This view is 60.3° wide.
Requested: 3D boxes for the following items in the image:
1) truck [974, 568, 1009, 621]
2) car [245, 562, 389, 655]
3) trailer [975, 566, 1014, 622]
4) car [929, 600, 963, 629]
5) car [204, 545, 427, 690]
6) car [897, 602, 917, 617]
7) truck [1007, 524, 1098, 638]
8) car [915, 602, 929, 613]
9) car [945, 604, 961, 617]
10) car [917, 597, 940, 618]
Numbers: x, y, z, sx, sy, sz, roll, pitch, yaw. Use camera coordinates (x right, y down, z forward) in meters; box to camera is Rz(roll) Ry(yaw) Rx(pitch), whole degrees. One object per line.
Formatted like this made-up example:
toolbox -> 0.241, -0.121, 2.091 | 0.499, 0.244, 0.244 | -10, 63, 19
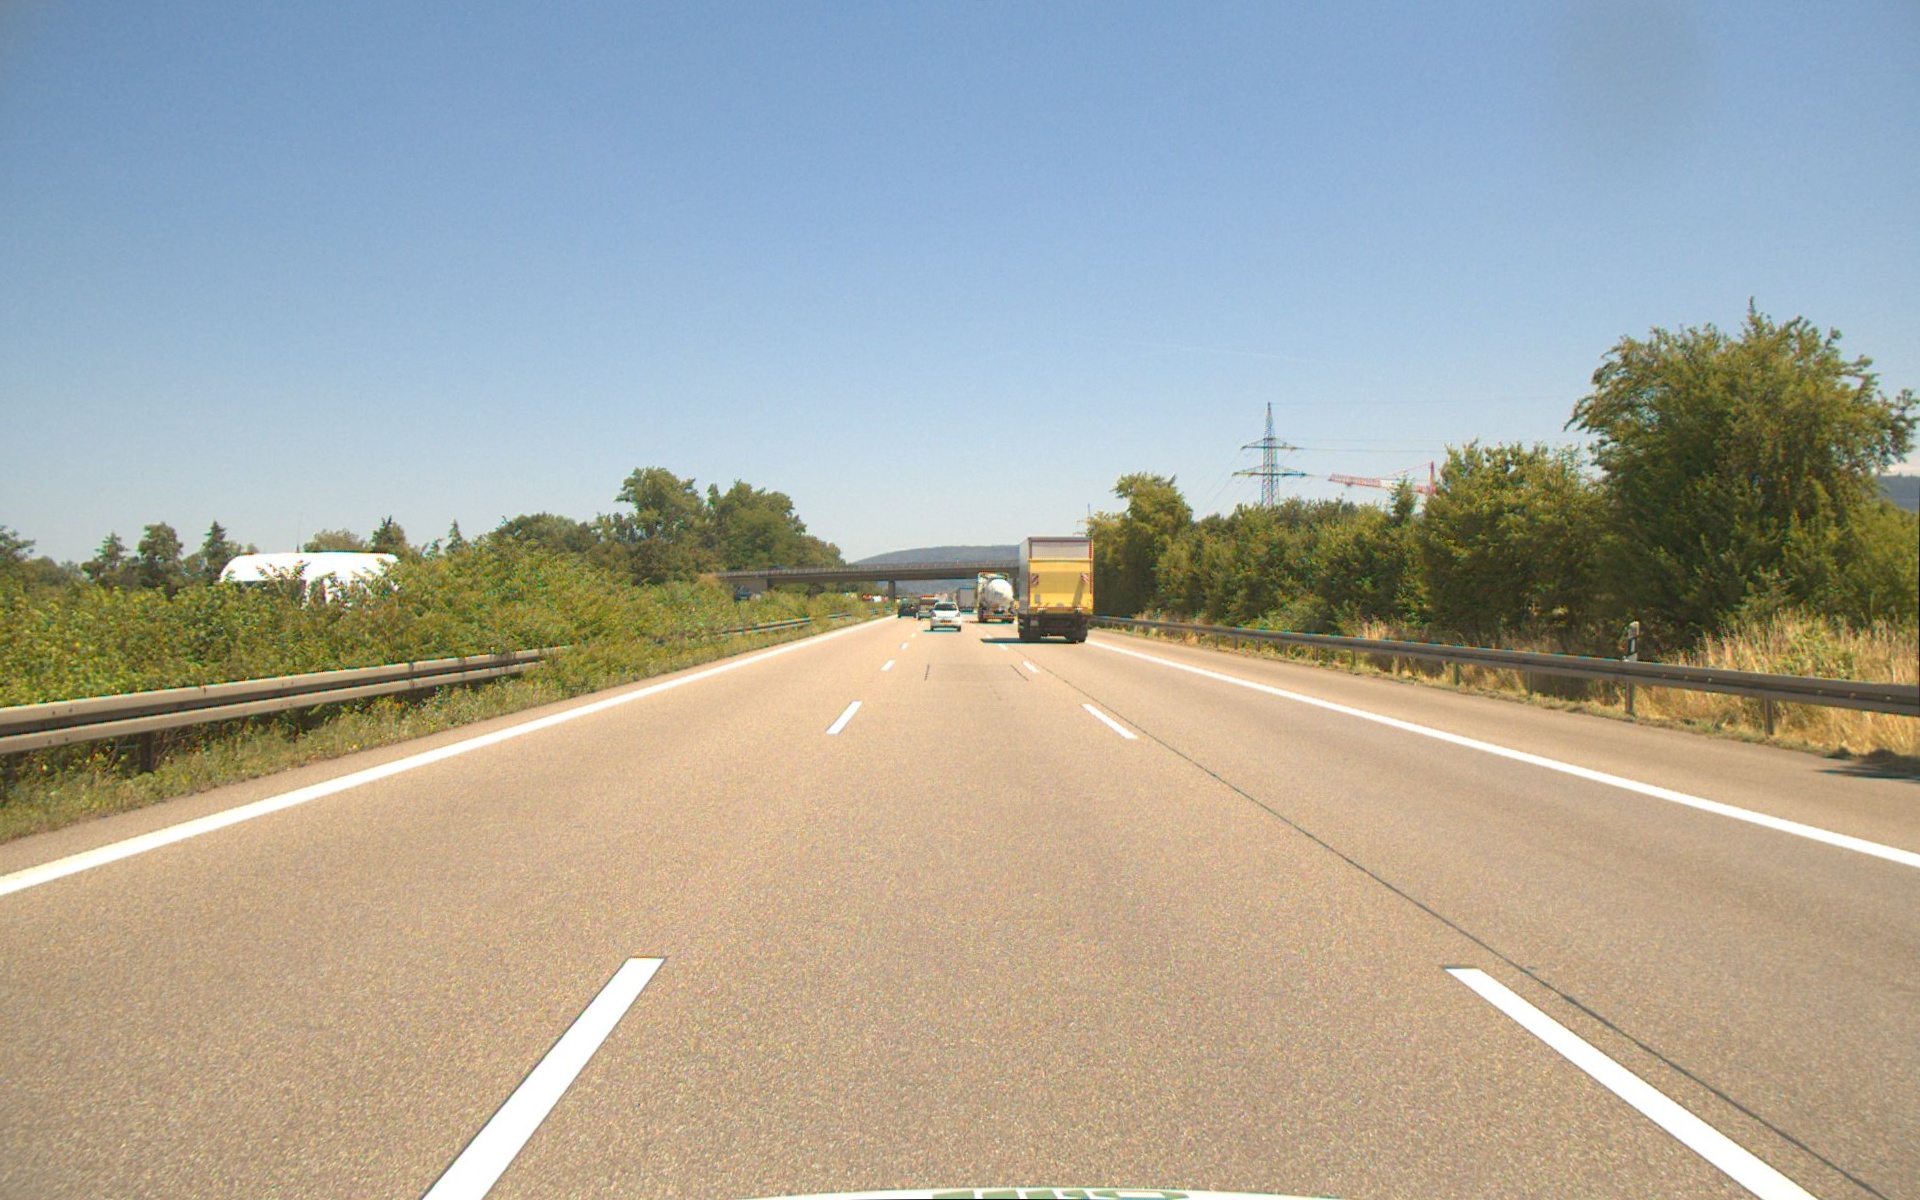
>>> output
truck -> 2.492, -0.403, 133.884 | 2.521, 4.143, 6.391 | 1, 0, -1
car -> -20.334, 0.248, 52.639 | 2.420, 2.756, 5.518 | 1, 0, -1
trailer -> 2.595, -0.420, 129.056 | 2.527, 4.146, 11.100 | 1, 0, -1
car -> -0.750, 0.753, 88.309 | 1.770, 1.494, 3.999 | 1, 0, -1
car -> -12.579, 0.324, 32.854 | 1.770, 2.544, 6.777 | 1, 0, 0
car -> -5.107, 0.907, 159.057 | 1.798, 1.411, 3.999 | 1, 0, -1
truck -> 3.659, -0.724, 68.003 | 2.874, 4.273, 10.679 | 1, 0, -1
car -> -5.264, 1.069, 228.246 | 1.798, 1.411, 3.999 | 1, 0, -1
car -> -0.788, 1.145, 182.815 | 1.798, 1.411, 3.999 | 1, 0, -1
car -> -2.671, 0.633, 140.298 | 1.814, 1.661, 3.999 | 1, 0, -1
